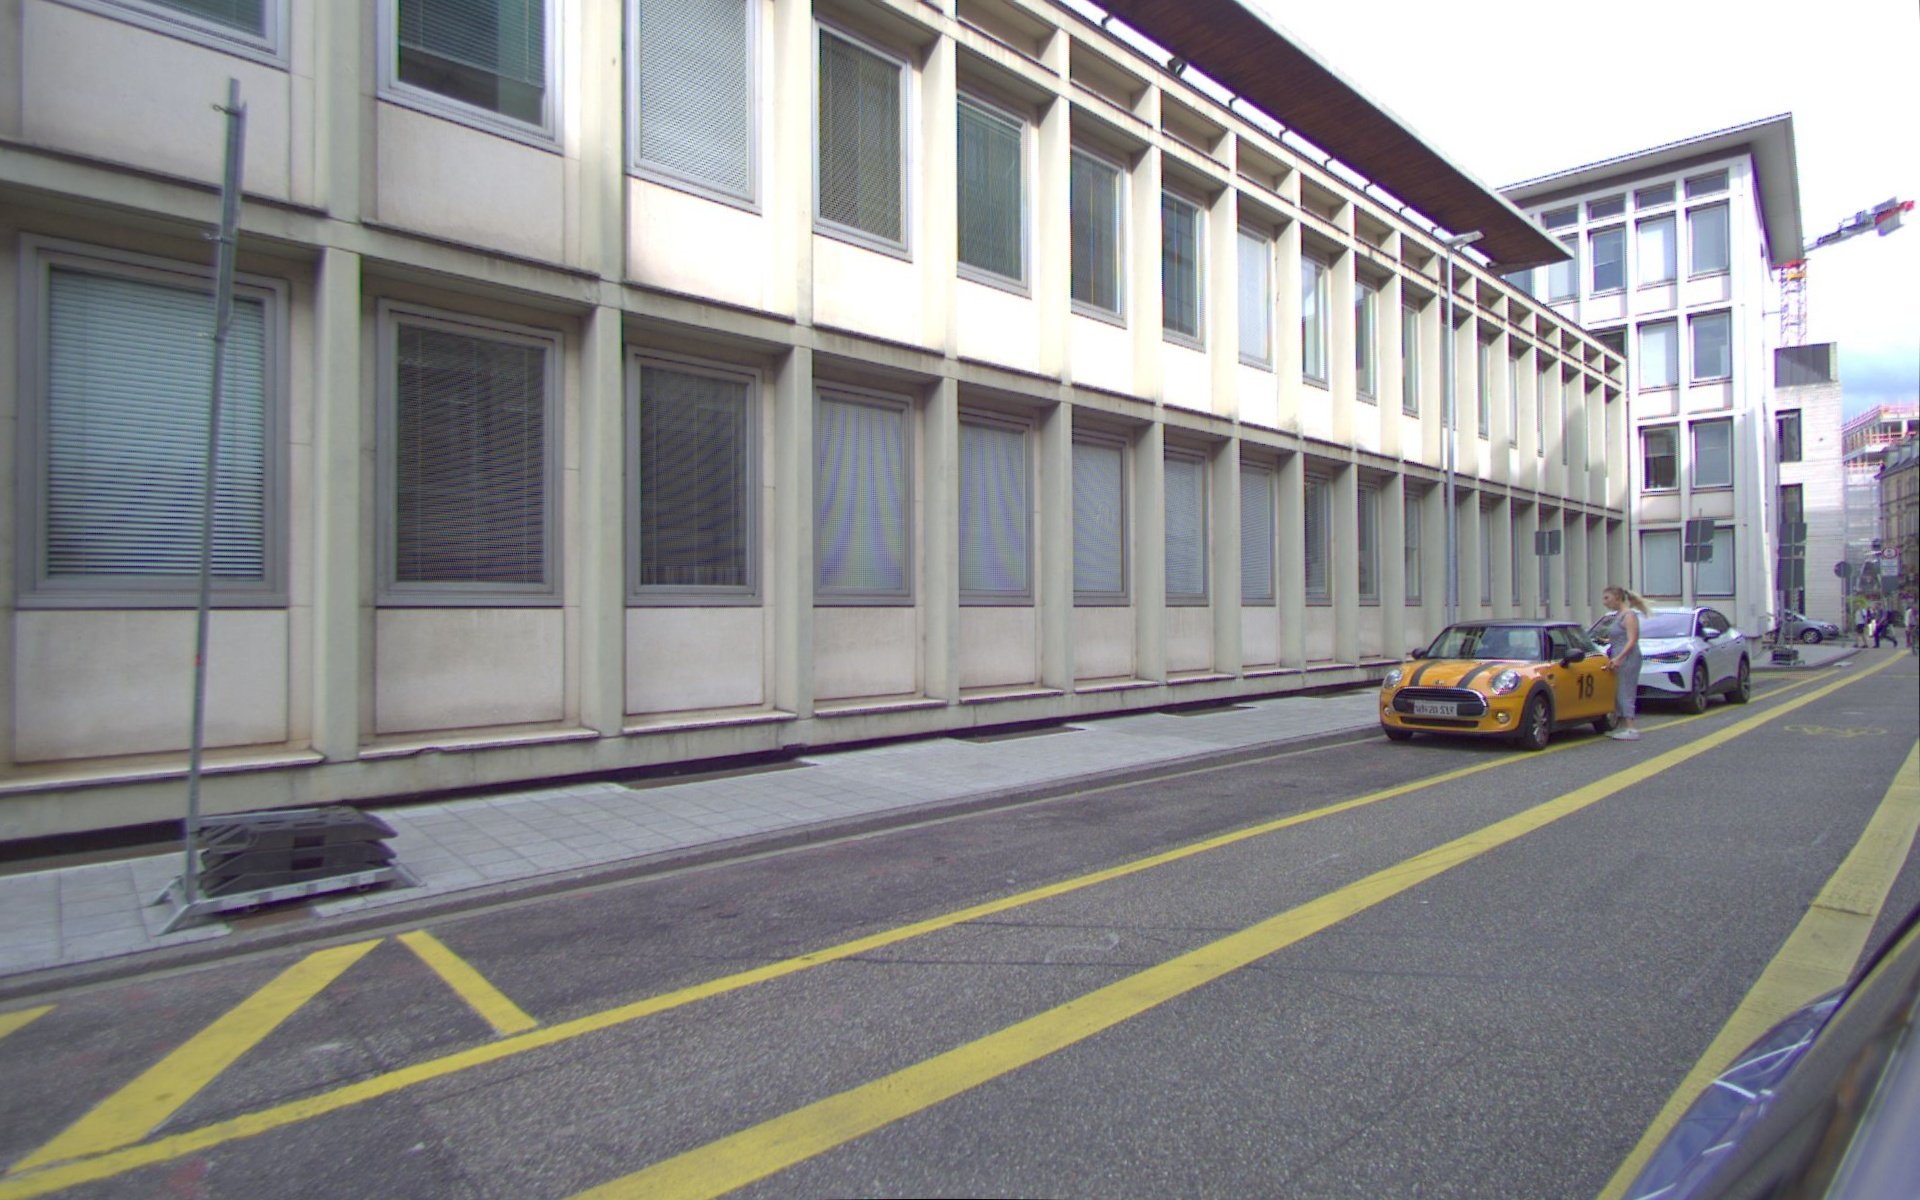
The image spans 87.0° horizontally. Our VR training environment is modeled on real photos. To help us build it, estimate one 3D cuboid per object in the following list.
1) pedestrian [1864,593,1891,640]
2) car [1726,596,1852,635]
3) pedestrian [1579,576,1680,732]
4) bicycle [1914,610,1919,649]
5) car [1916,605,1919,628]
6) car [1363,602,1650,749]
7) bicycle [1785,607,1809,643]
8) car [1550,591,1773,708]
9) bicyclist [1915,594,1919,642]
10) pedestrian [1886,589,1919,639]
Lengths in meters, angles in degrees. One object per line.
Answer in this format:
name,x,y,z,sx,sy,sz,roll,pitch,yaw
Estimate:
pedestrian,35.718,0.646,39.402,0.639,1.787,0.646,-1,-1,34
car,36.540,0.661,44.656,4.182,1.610,1.786,0,0,45
pedestrian,7.931,0.613,12.000,0.685,1.786,0.707,0,0,-16
bicycle,32.519,0.976,33.817,0.868,1.209,2.820,-1,0,43
car,62.627,1.072,64.858,1.581,1.505,3.946,0,0,37
car,6.690,0.805,12.256,3.817,1.453,1.683,-1,-2,-39
bicycle,29.040,0.857,35.093,0.588,1.182,1.788,-1,0,41
car,11.486,0.741,16.466,4.433,1.626,1.862,-1,-3,-41
bicyclist,32.525,0.600,33.808,0.890,1.614,0.864,-1,0,44
pedestrian,35.863,0.520,38.455,0.740,1.838,0.747,-5,-3,34
